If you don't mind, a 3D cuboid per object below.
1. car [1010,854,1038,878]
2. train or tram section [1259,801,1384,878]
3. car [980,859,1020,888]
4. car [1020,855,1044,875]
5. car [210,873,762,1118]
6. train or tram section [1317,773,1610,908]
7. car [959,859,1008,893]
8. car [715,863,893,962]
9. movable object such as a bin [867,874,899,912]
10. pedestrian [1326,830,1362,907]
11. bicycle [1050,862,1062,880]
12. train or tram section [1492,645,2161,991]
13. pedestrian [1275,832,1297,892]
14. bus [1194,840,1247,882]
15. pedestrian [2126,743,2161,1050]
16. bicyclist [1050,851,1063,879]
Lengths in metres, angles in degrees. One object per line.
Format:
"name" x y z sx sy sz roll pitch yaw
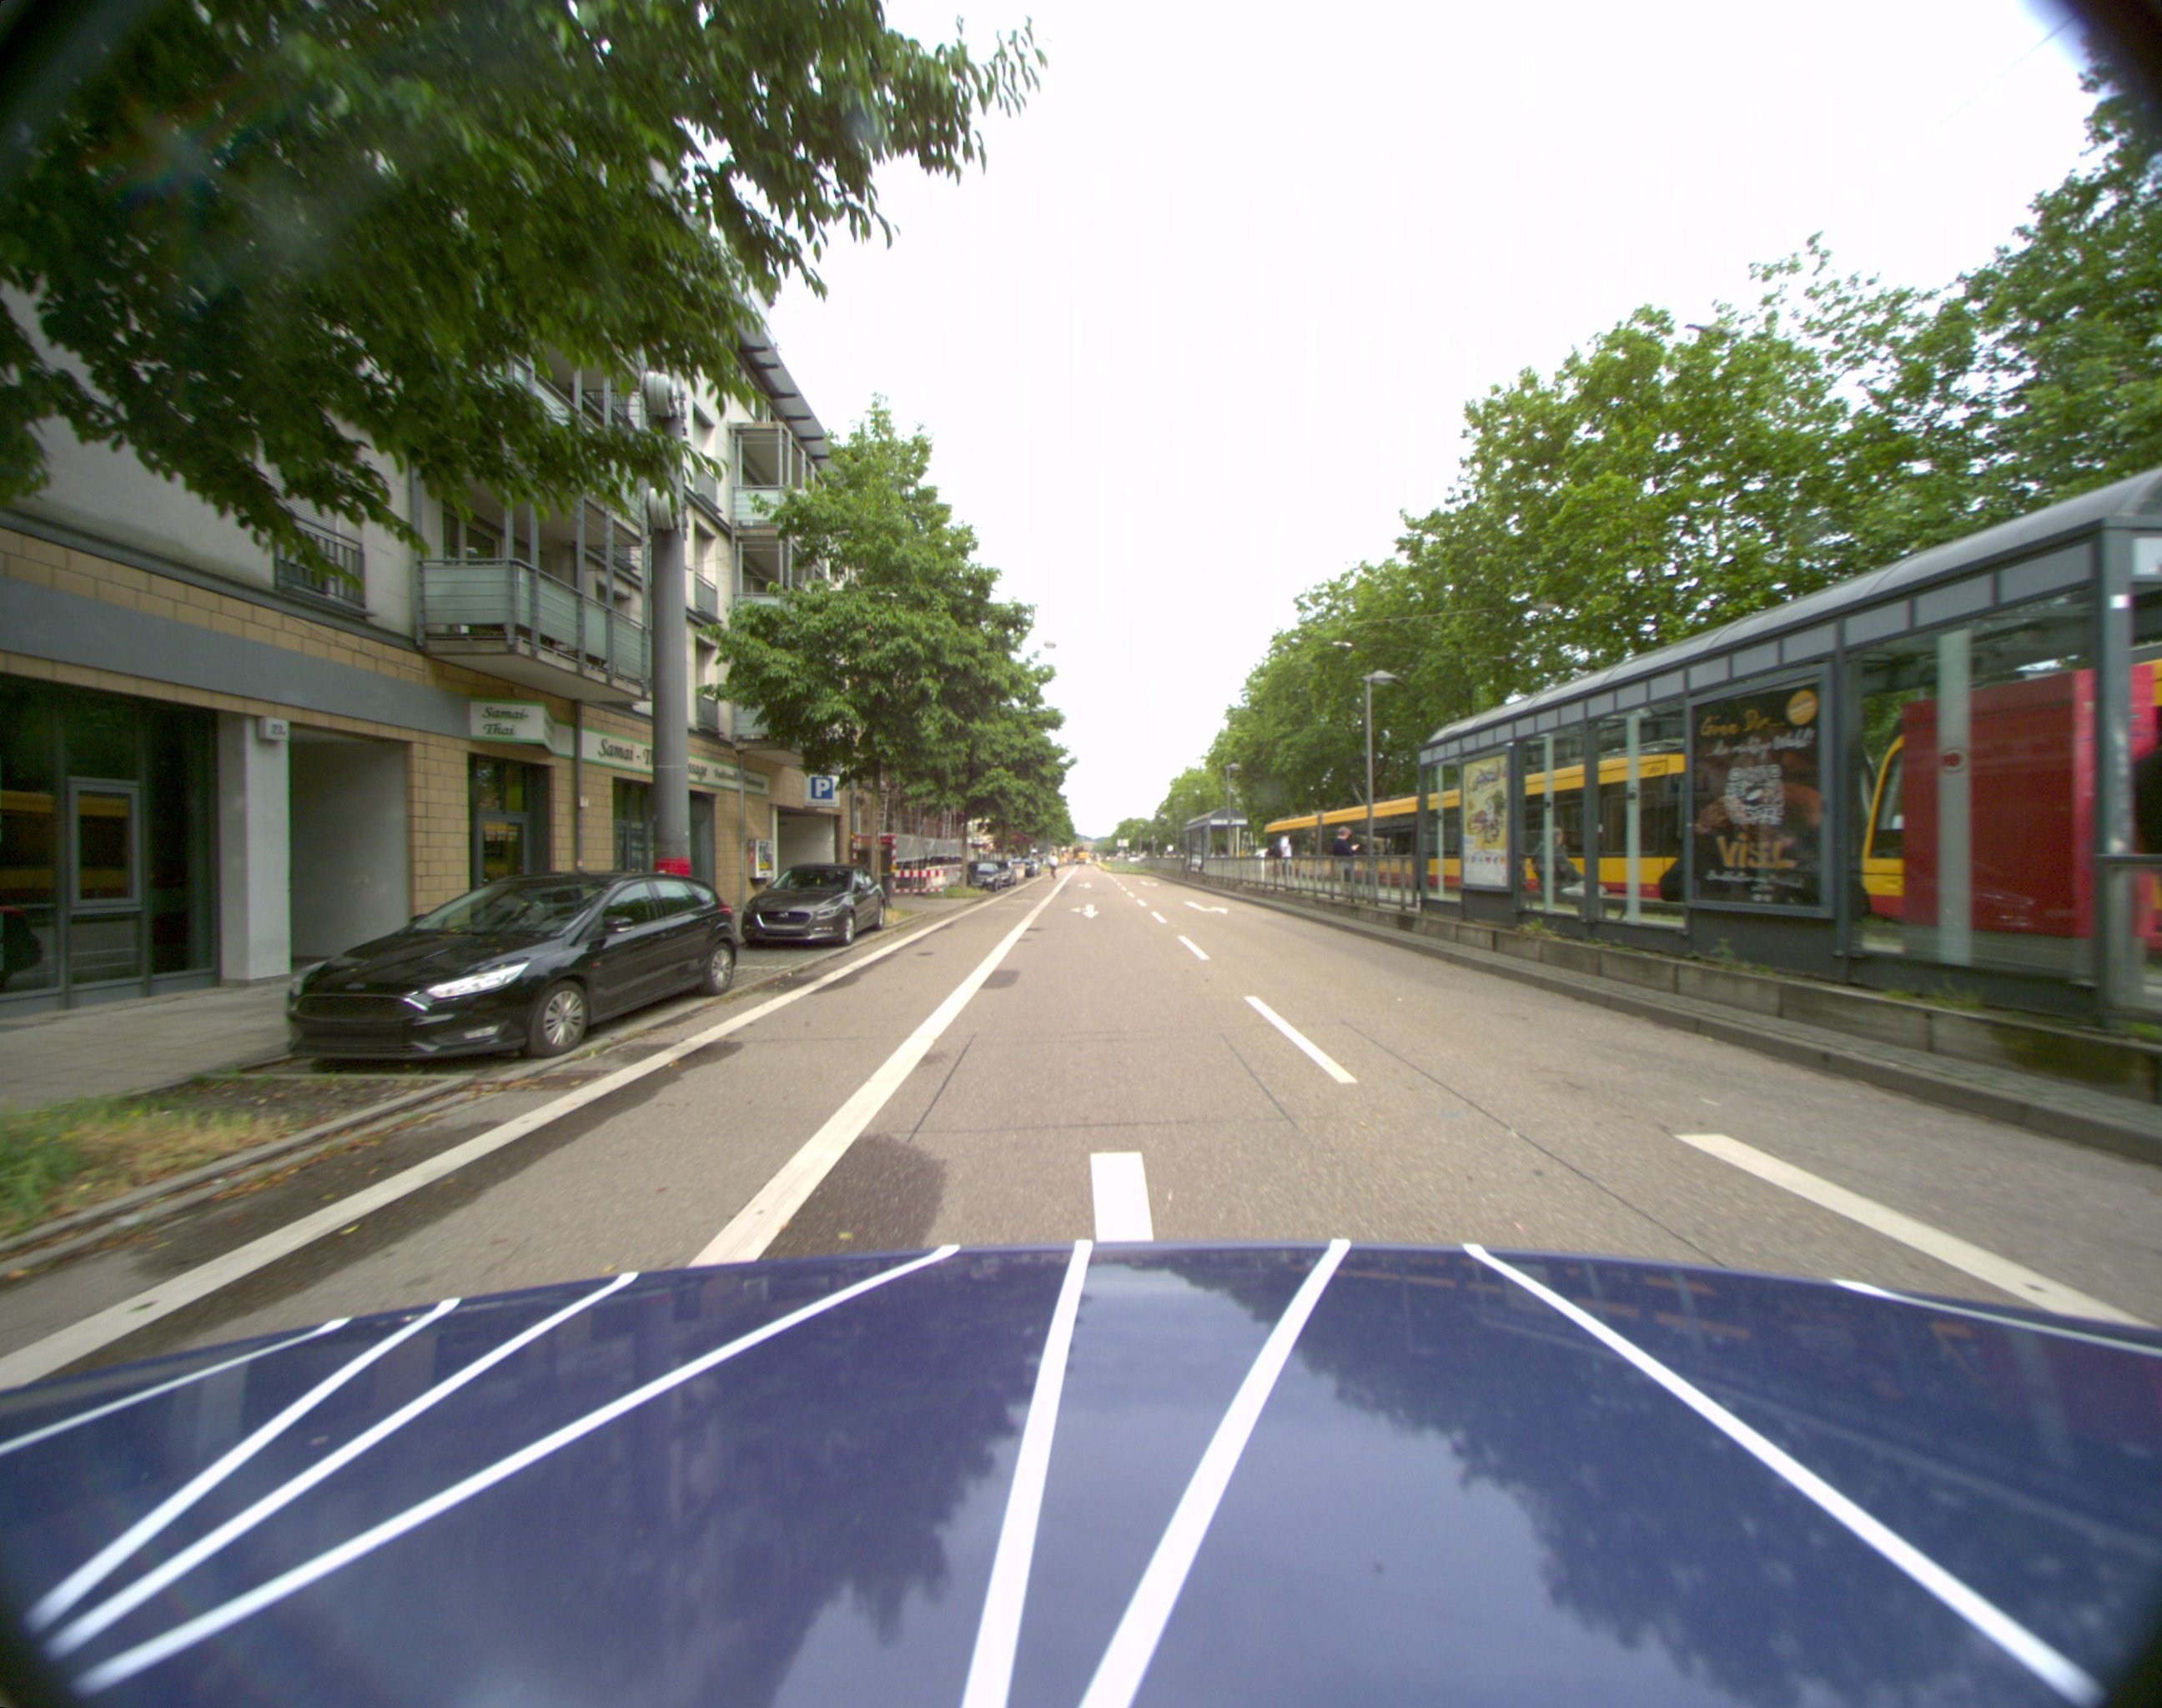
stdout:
"car" -4.344 0.874 58.511 1.837 1.720 4.279 1 0 0
"train or tram section" 12.912 -0.741 42.448 3.100 3.541 12.538 -2 0 1
"car" -4.436 1.025 42.239 1.755 1.452 4.279 1 0 0
"car" -4.339 0.946 67.803 1.837 1.685 3.762 1 0 0
"car" -4.885 0.988 7.243 1.680 1.433 4.408 2 0 2
"train or tram section" 12.749 -0.408 28.323 3.067 3.511 15.770 -2 0 1
"car" -4.595 1.005 36.274 1.755 1.452 4.279 1 0 0
"car" -4.963 0.957 14.331 1.802 1.447 4.388 2 0 -1
"movable object such as a bin" -5.615 1.091 21.581 0.764 1.048 0.541 0 1 0
"pedestrian" 5.660 0.303 16.366 0.513 1.623 0.730 -2 1 2
"bicycle" -1.634 1.105 49.935 0.613 1.116 2.050 -2 0 1
"train or tram section" 12.562 -0.441 12.798 3.067 3.511 15.294 -2 0 1
"pedestrian" 5.671 0.214 21.010 0.480 1.623 0.392 -2 1 2
"bus" 7.130 0.324 39.285 1.998 2.002 4.000 -2 0 1
"pedestrian" 5.956 0.219 3.900 0.532 1.623 0.471 -2 1 -2
"bicyclist" -1.614 0.716 50.346 0.751 1.777 0.838 -2 1 1
